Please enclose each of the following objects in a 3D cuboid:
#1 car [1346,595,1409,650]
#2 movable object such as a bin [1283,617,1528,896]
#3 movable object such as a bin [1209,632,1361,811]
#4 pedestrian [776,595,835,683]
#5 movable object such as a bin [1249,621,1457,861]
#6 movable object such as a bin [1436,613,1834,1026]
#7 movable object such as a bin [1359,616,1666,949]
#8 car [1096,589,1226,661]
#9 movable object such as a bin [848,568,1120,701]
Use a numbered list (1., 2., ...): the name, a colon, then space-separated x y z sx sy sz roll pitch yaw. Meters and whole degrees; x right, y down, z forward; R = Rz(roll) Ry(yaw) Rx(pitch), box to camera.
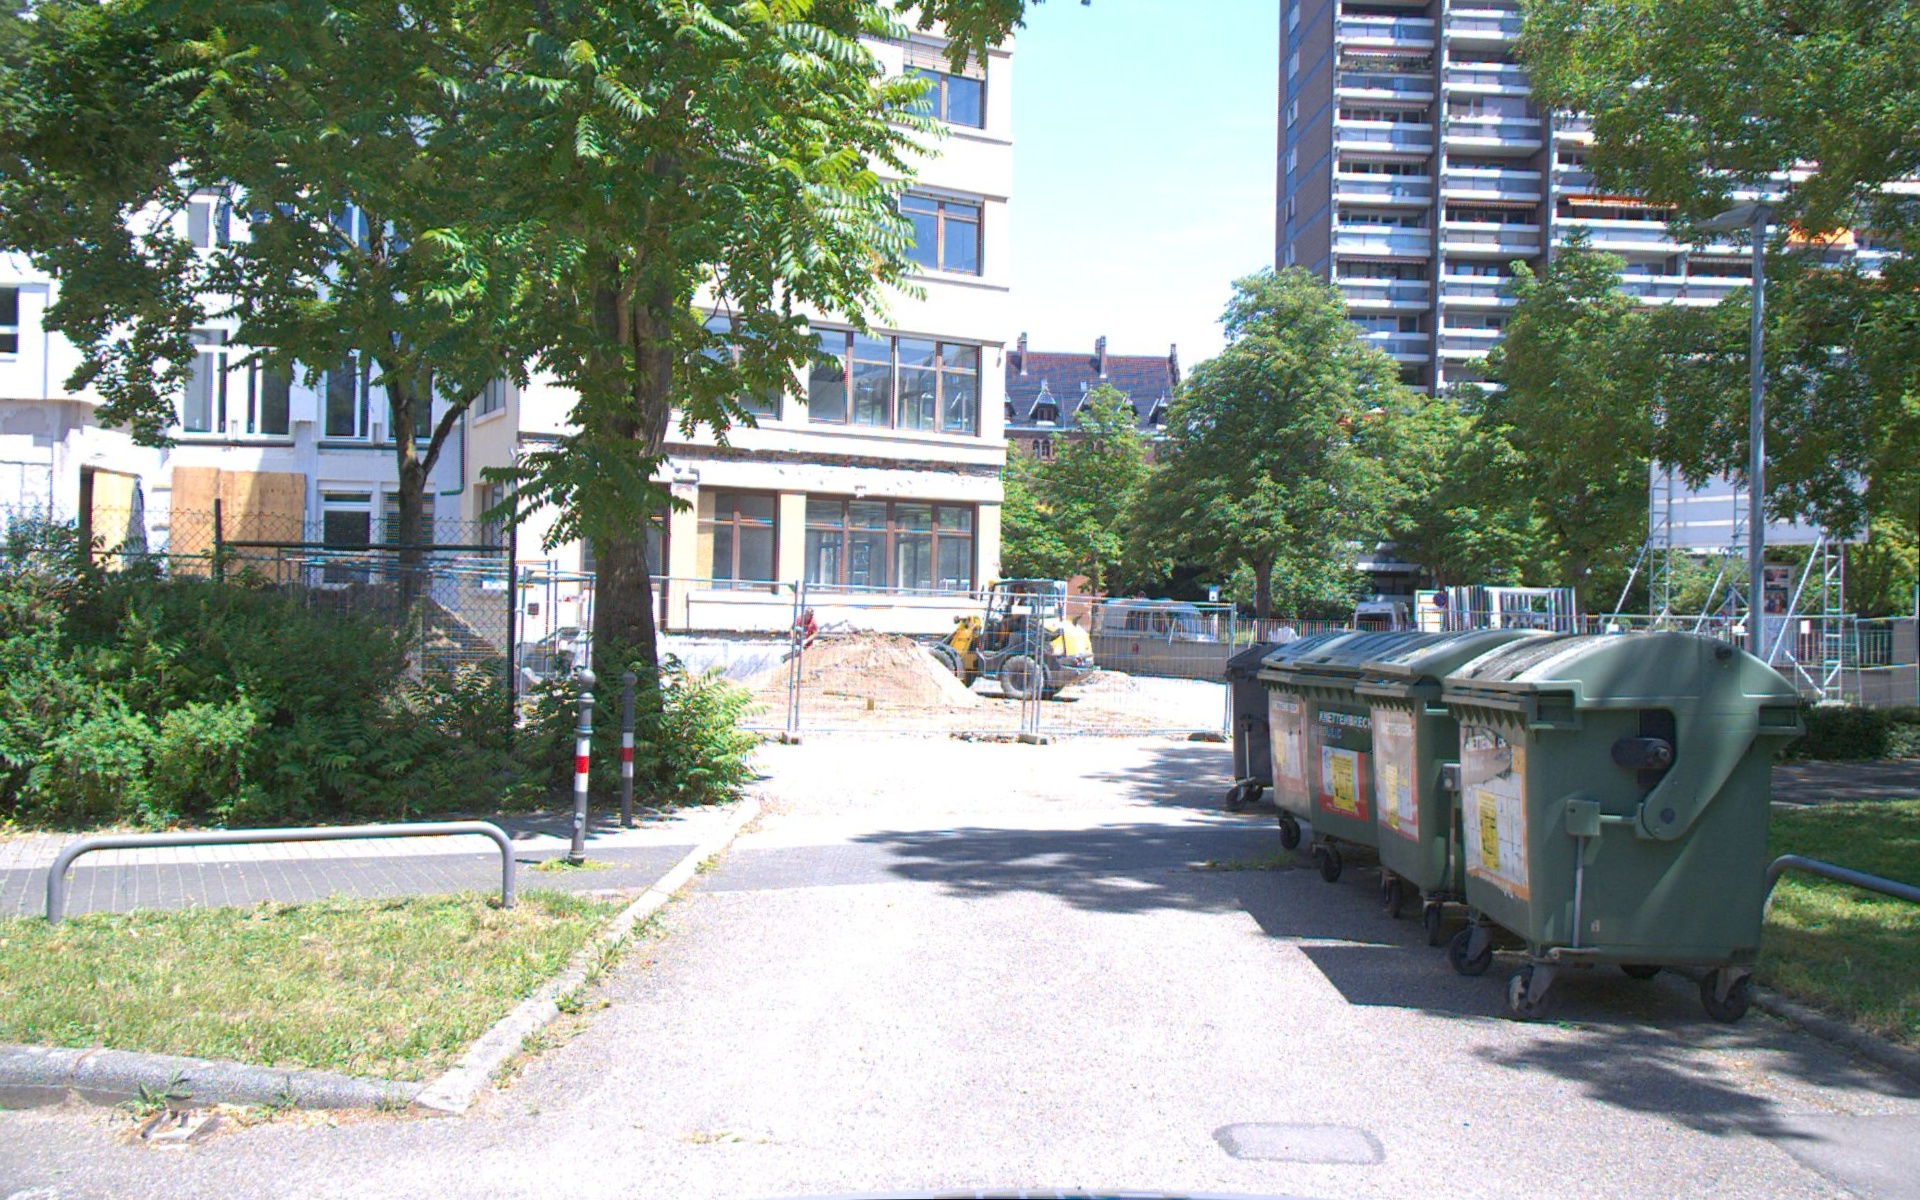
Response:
1. car: 18.219 1.009 72.014 2.139 2.298 4.869 0 -1 21
2. movable object such as a bin: 2.541 0.855 9.623 1.053 1.483 1.377 1 -1 0
3. movable object such as a bin: 2.830 1.032 14.553 1.053 1.483 1.377 1 -1 0
4. pedestrian: -3.352 0.853 35.928 0.906 1.879 0.975 2 -1 -33
5. movable object such as a bin: 2.583 0.895 11.045 1.053 1.483 1.377 1 -1 0
6. movable object such as a bin: 2.657 0.808 6.710 1.053 1.483 1.377 1 -1 0
7. movable object such as a bin: 2.663 0.832 8.153 1.053 1.483 1.377 1 -1 0
8. car: 7.207 0.893 59.879 1.972 2.459 5.191 2 -1 -29
9. movable object such as a bin: 0.511 0.704 35.653 5.297 2.507 2.365 2 0 26
